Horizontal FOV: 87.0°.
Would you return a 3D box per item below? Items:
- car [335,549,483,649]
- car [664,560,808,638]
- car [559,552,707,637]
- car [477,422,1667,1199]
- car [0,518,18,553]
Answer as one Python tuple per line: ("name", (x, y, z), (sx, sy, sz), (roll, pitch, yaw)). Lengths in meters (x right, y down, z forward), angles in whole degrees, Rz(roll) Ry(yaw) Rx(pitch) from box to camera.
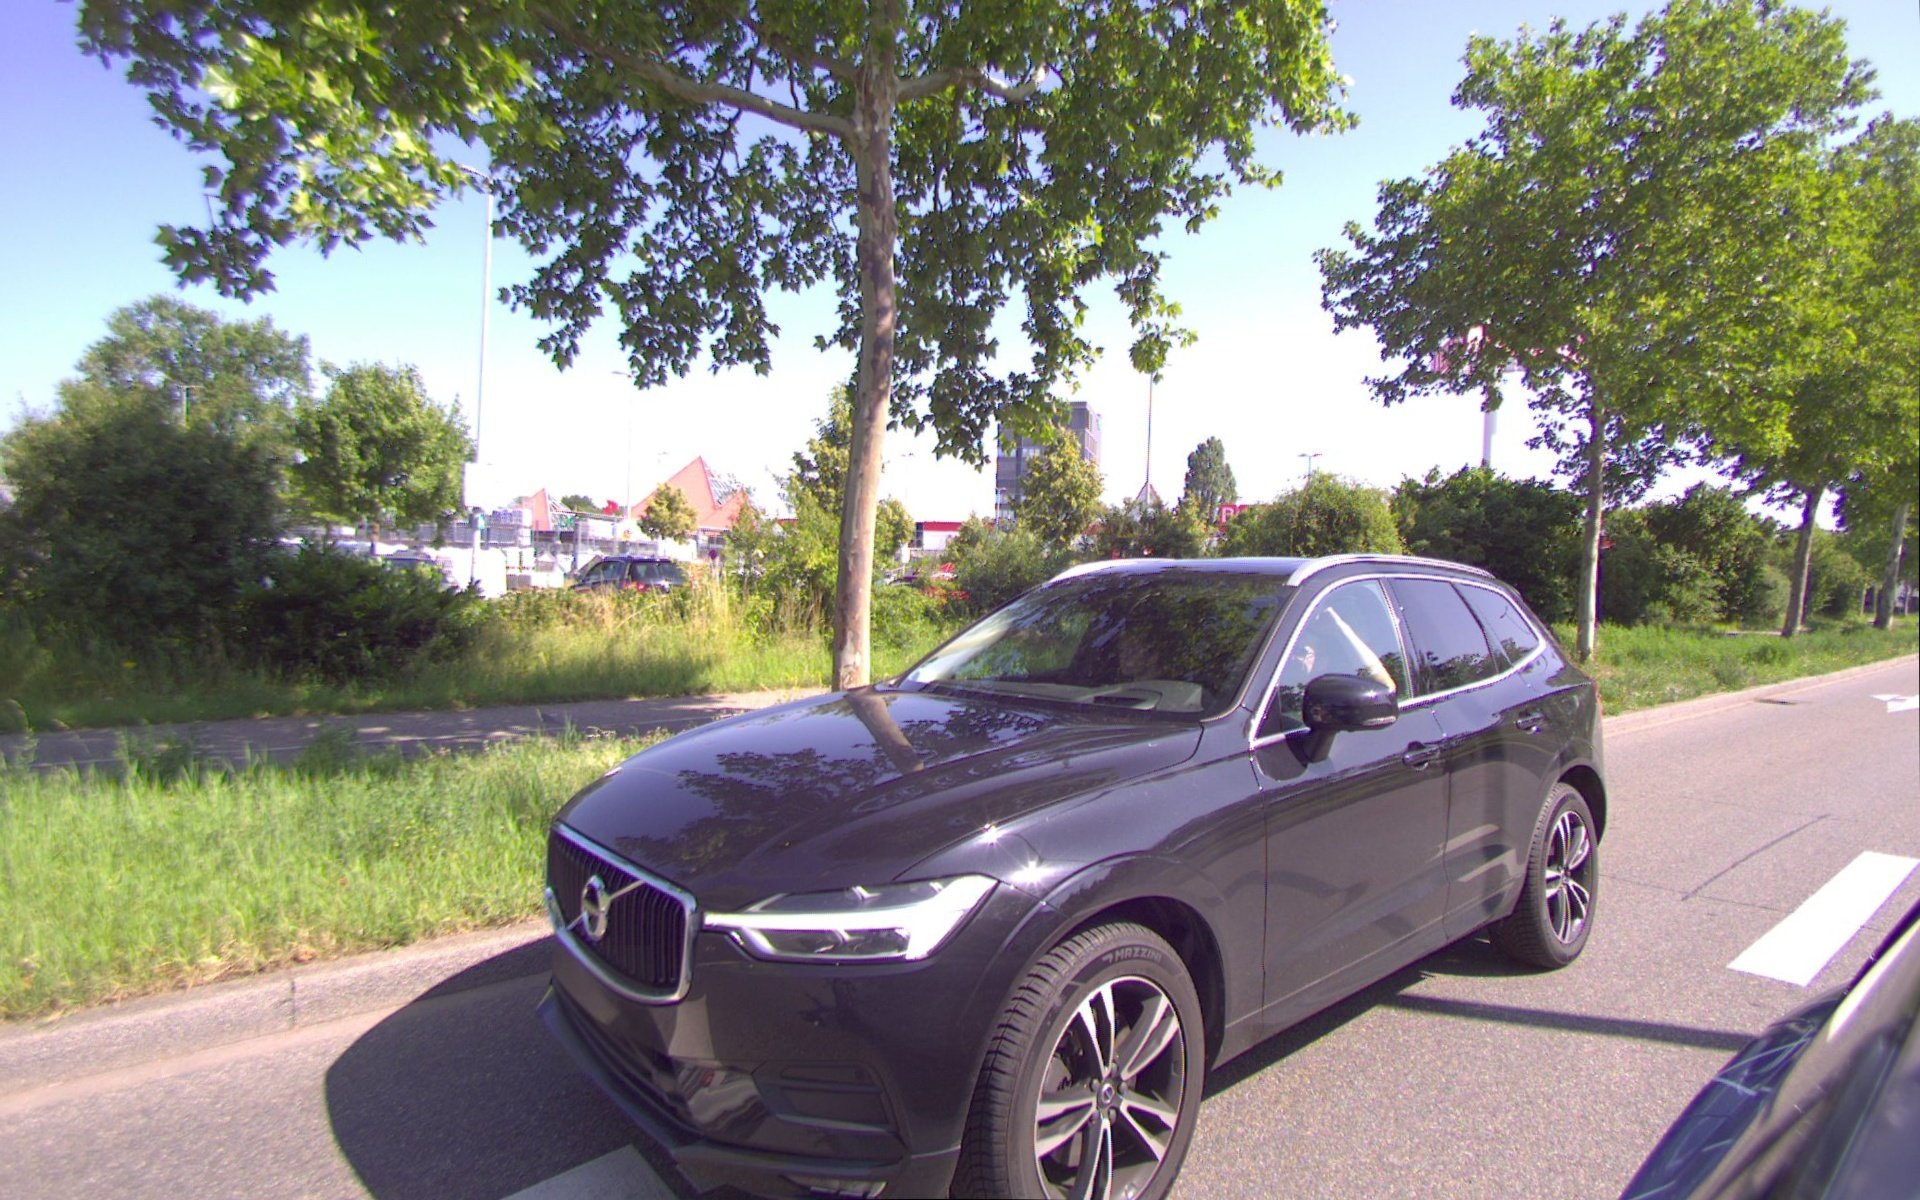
("car", (-10.594, -0.045, 19.347), (1.690, 1.717, 3.552), (0, 1, -43))
("car", (-5.346, -0.052, 23.980), (3.548, 1.717, 1.692), (1, 1, 45))
("car", (-7.249, -0.145, 22.294), (3.548, 1.717, 1.692), (1, 1, 45))
("car", (0.856, 0.517, 3.795), (4.485, 1.643, 1.922), (0, 1, -41))
("car", (-57.858, -3.798, 58.720), (1.971, 2.039, 4.370), (0, 1, 14))
